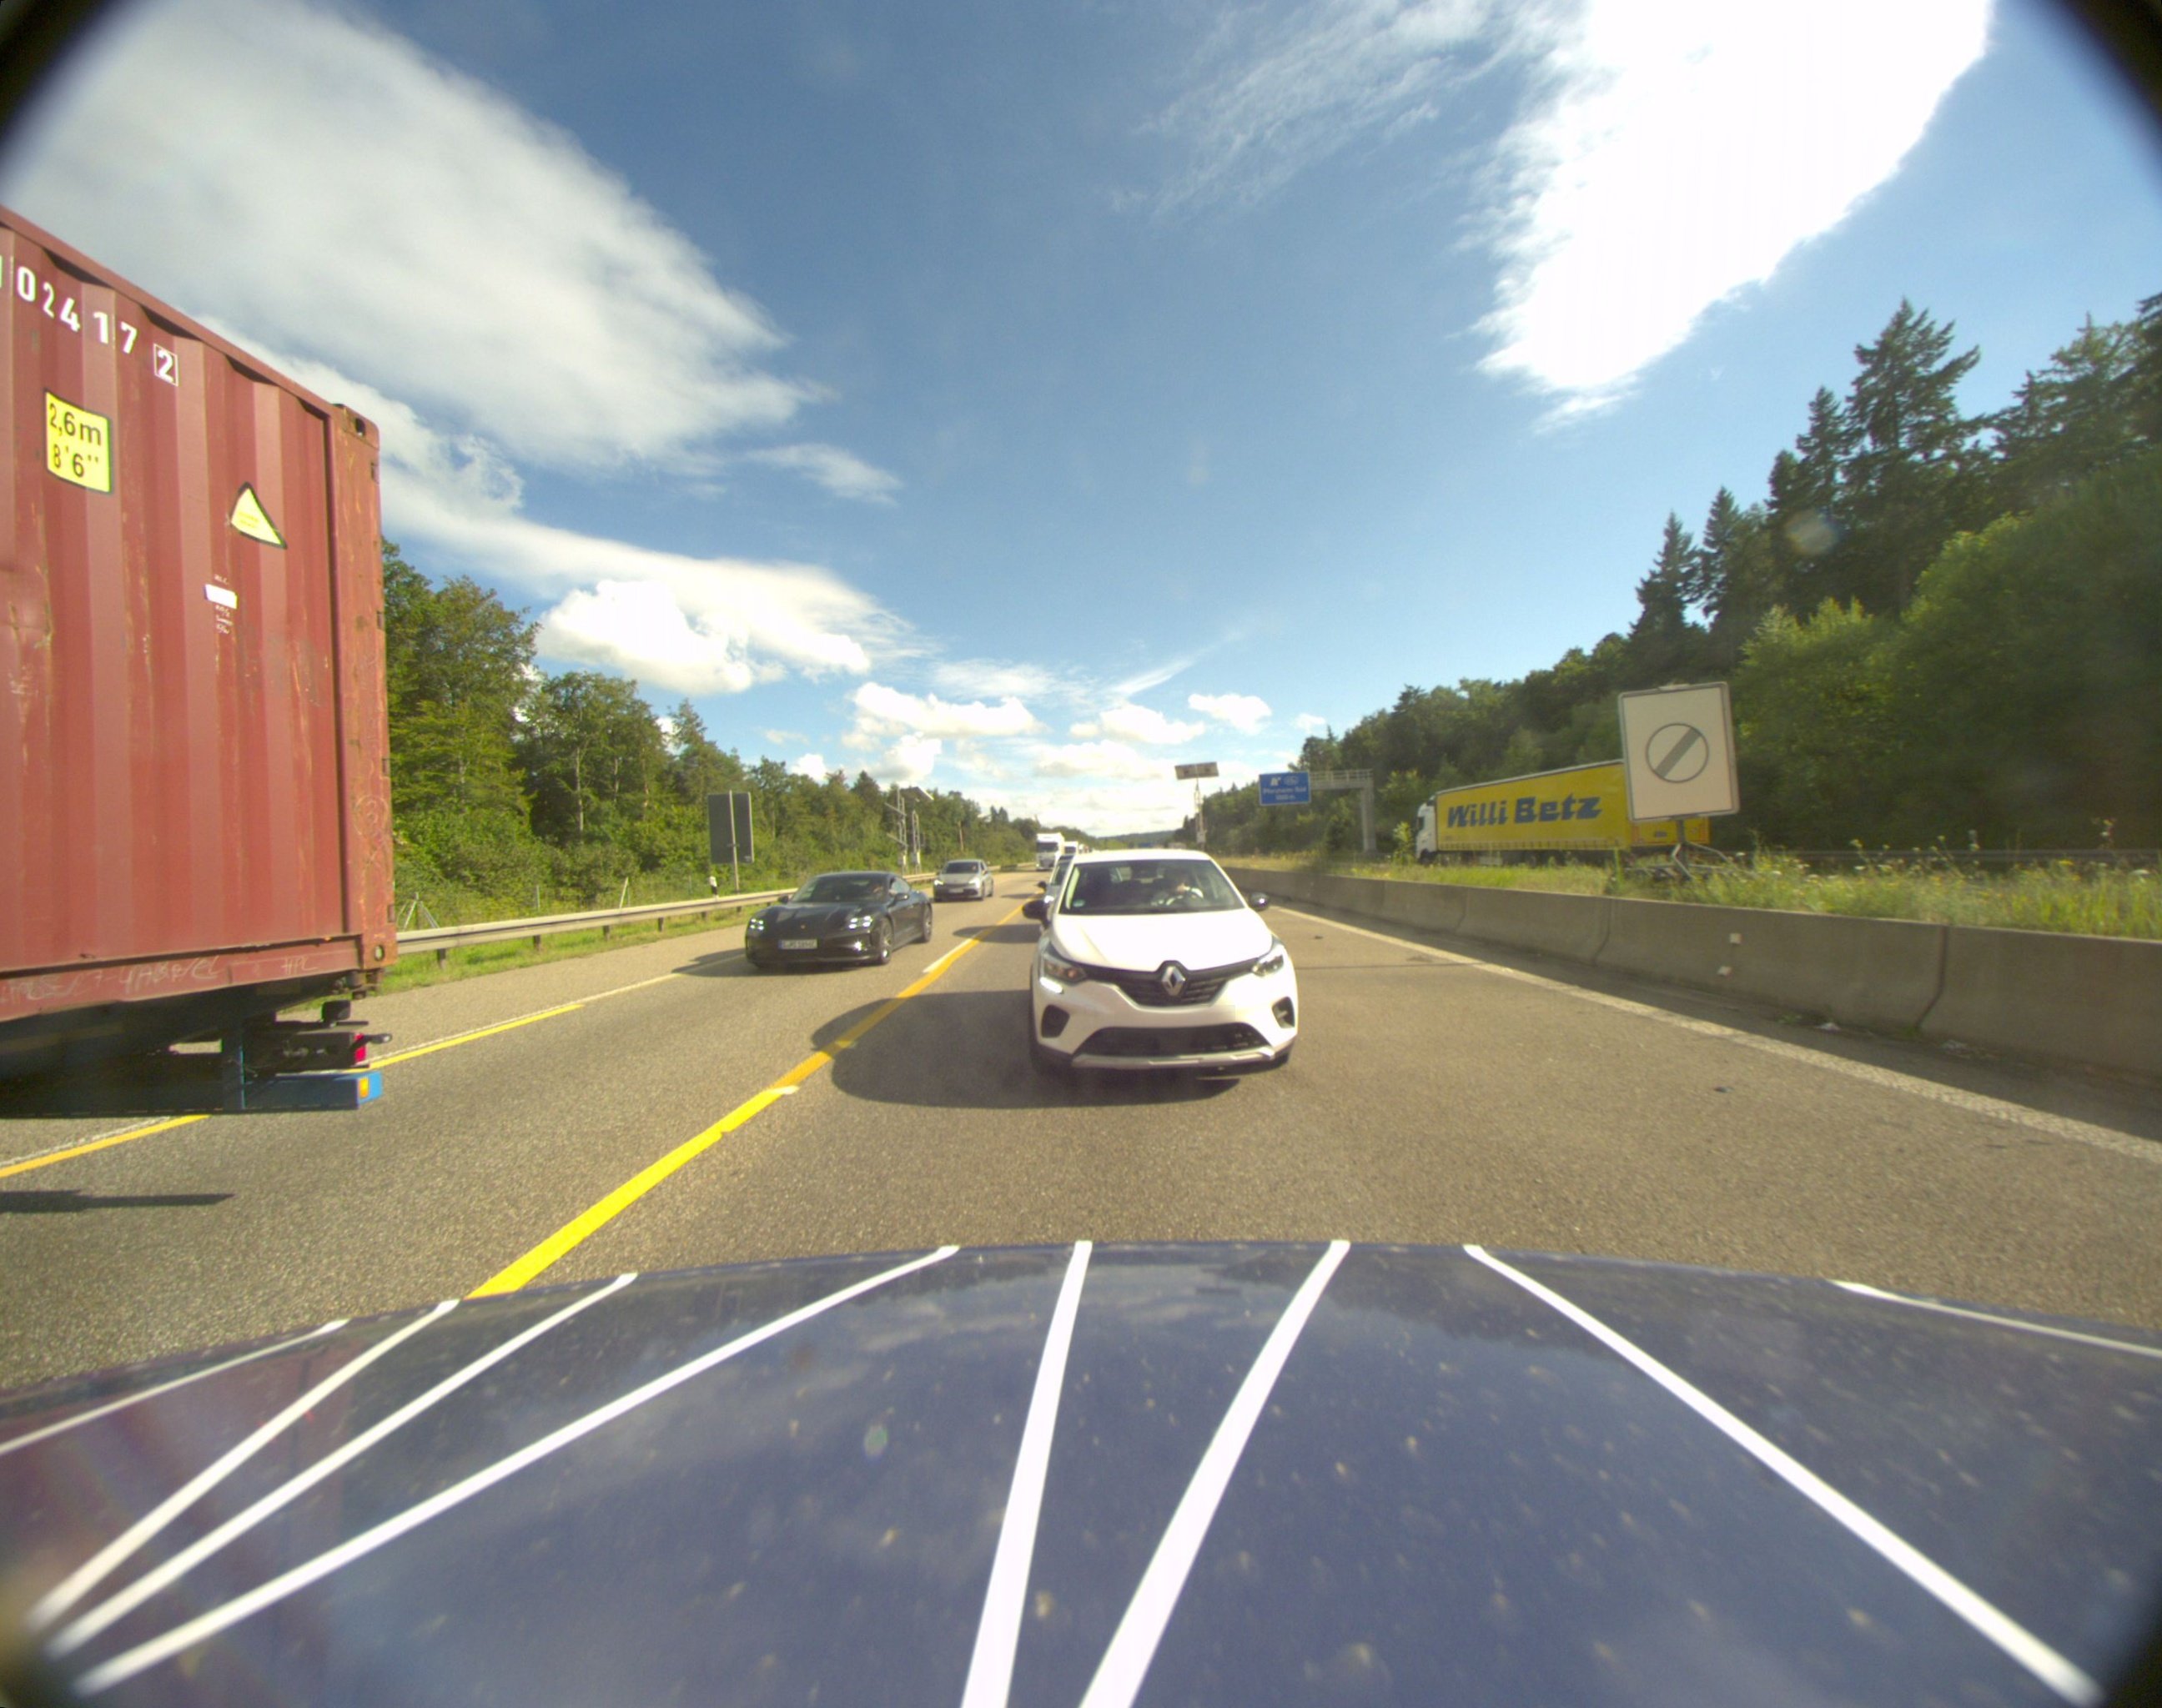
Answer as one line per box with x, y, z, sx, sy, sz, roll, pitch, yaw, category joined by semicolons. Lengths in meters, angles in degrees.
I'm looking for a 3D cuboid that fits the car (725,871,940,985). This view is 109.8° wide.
-3.773;1.052;12.498;1.933;1.342;4.477;-2;0;1;car

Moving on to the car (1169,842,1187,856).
14.240;-0.739;111.703;1.998;2.002;4.831;-2;1;1;car

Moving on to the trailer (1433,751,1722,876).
19.122;-1.381;31.276;2.834;3.900;13.938;-2;1;1;trailer

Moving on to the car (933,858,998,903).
-4.322;0.967;29.037;1.762;1.471;3.967;-2;1;1;car

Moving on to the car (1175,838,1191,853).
23.758;-1.921;177.333;2.493;3.351;7.451;-2;1;0;car

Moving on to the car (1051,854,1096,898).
-0.238;0.804;29.902;1.633;1.548;3.754;-2;0;1;car

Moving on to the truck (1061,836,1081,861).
-1.718;-0.914;132.690;2.640;4.092;8.196;-2;0;3;truck

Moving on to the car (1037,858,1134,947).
0.114;0.877;15.367;1.692;1.471;3.754;-2;1;1;car

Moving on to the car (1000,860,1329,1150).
0.511;0.895;6.329;1.840;1.528;3.882;-2;1;1;car

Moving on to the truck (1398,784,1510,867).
19.206;-1.401;39.546;2.834;3.886;5.948;-2;1;1;truck

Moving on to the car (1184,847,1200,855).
18.599;-0.528;127.506;1.963;1.355;4.287;-2;1;1;car

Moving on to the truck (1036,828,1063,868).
-3.463;-0.624;82.857;2.641;4.092;8.193;-2;0;-2;truck

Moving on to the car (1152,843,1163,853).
20.379;-1.547;202.330;2.165;2.437;6.330;-3;1;1;car

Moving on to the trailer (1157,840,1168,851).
28.160;-2.920;262.010;2.797;3.901;8.487;-2;1;1;trailer

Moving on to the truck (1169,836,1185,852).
25.021;-2.626;198.424;2.807;3.969;10.185;-2;0;1;truck
